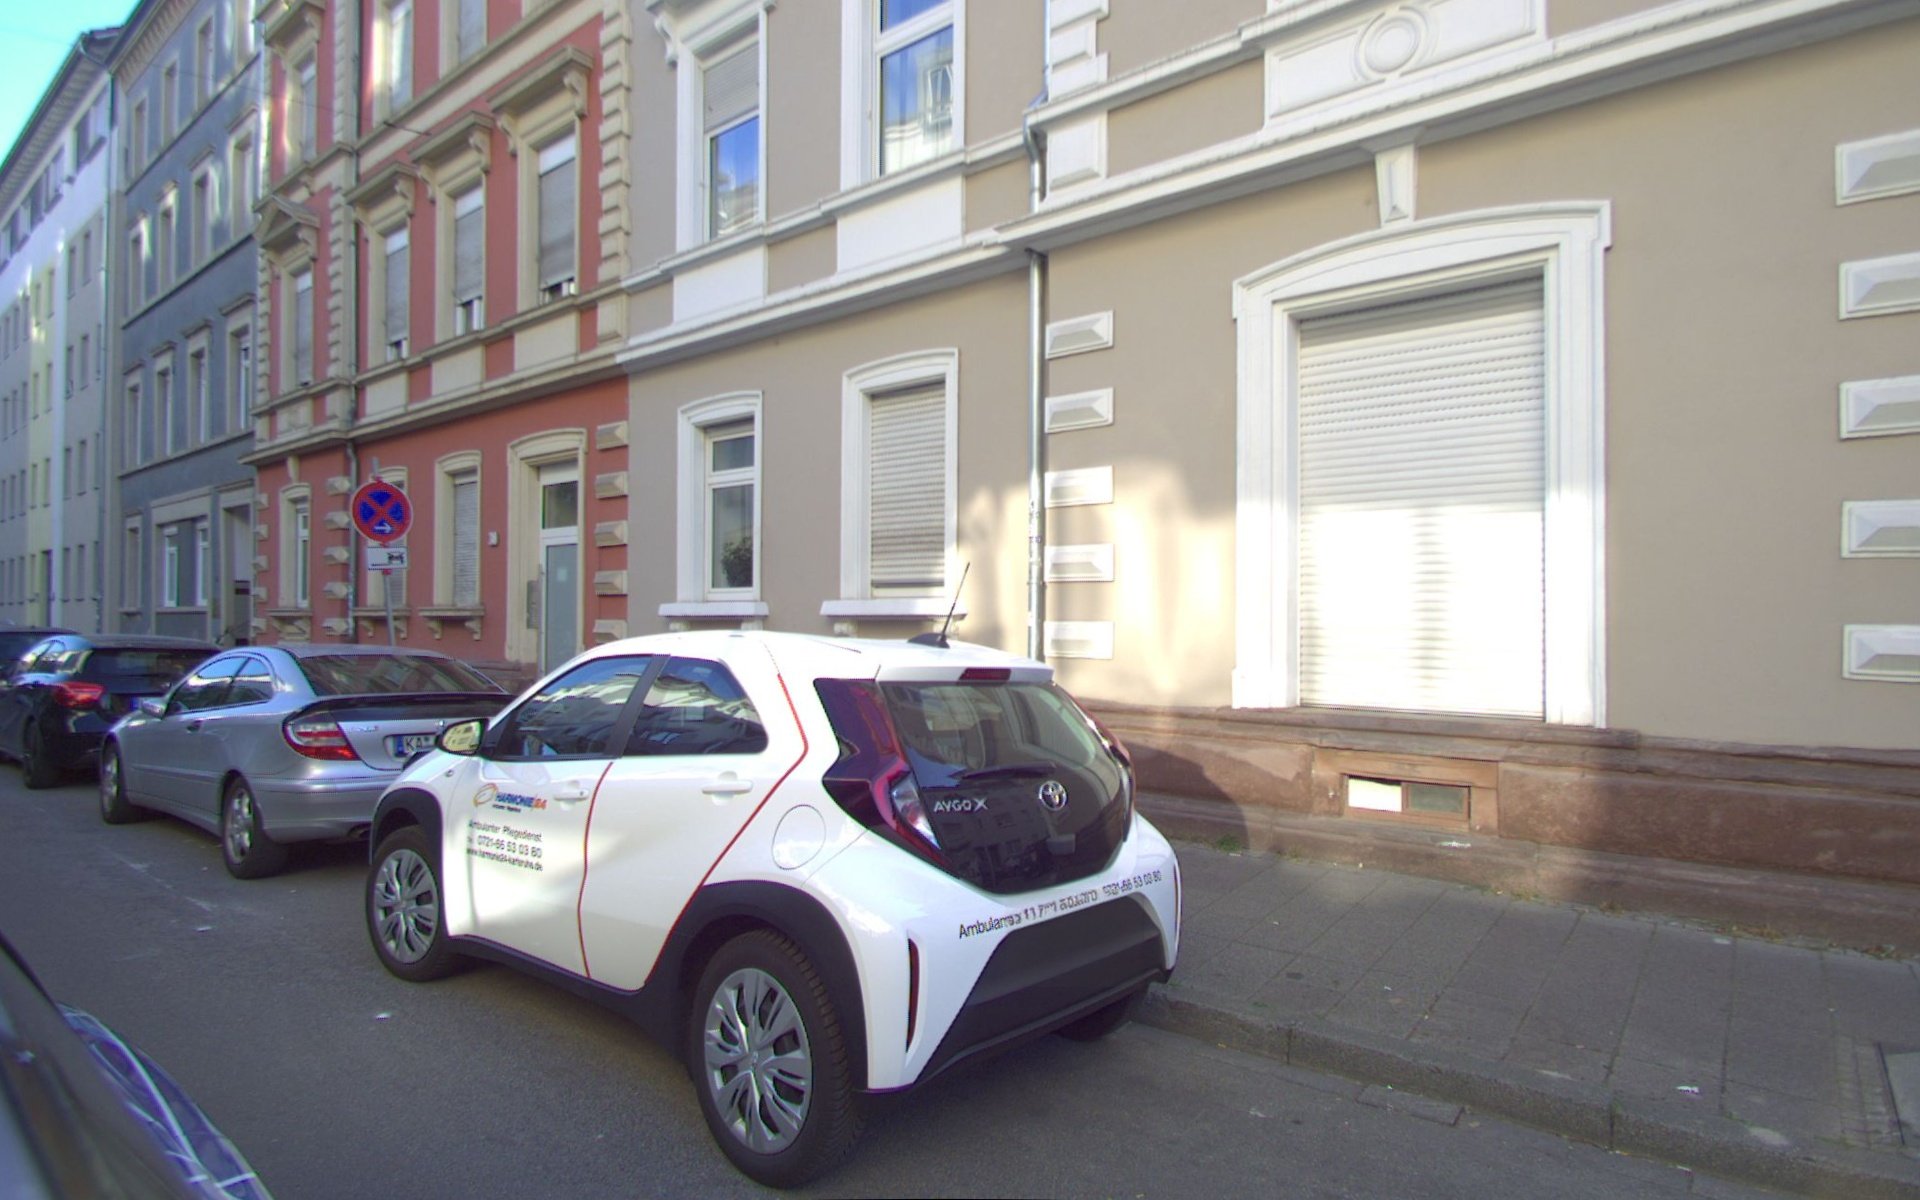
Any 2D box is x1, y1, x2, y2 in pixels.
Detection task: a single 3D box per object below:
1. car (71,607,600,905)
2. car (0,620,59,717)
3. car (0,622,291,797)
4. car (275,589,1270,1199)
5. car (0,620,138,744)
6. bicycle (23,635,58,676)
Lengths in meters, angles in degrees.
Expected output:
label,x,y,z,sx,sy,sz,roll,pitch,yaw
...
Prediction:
label,x,y,z,sx,sy,sz,roll,pitch,yaw
car,-4.738,0.925,7.463,4.260,1.572,1.902,-2,-4,38
car,-17.410,1.143,17.517,4.260,1.572,1.902,-2,-4,38
car,-9.024,1.037,10.737,4.260,1.495,1.902,-2,-4,38
car,-1.101,0.838,4.333,4.263,1.519,1.901,-2,-4,40
car,-13.637,1.113,14.526,4.234,1.572,1.883,-2,-4,38
bicycle,-25.226,1.503,27.751,1.750,1.082,0.446,-1,-1,39
